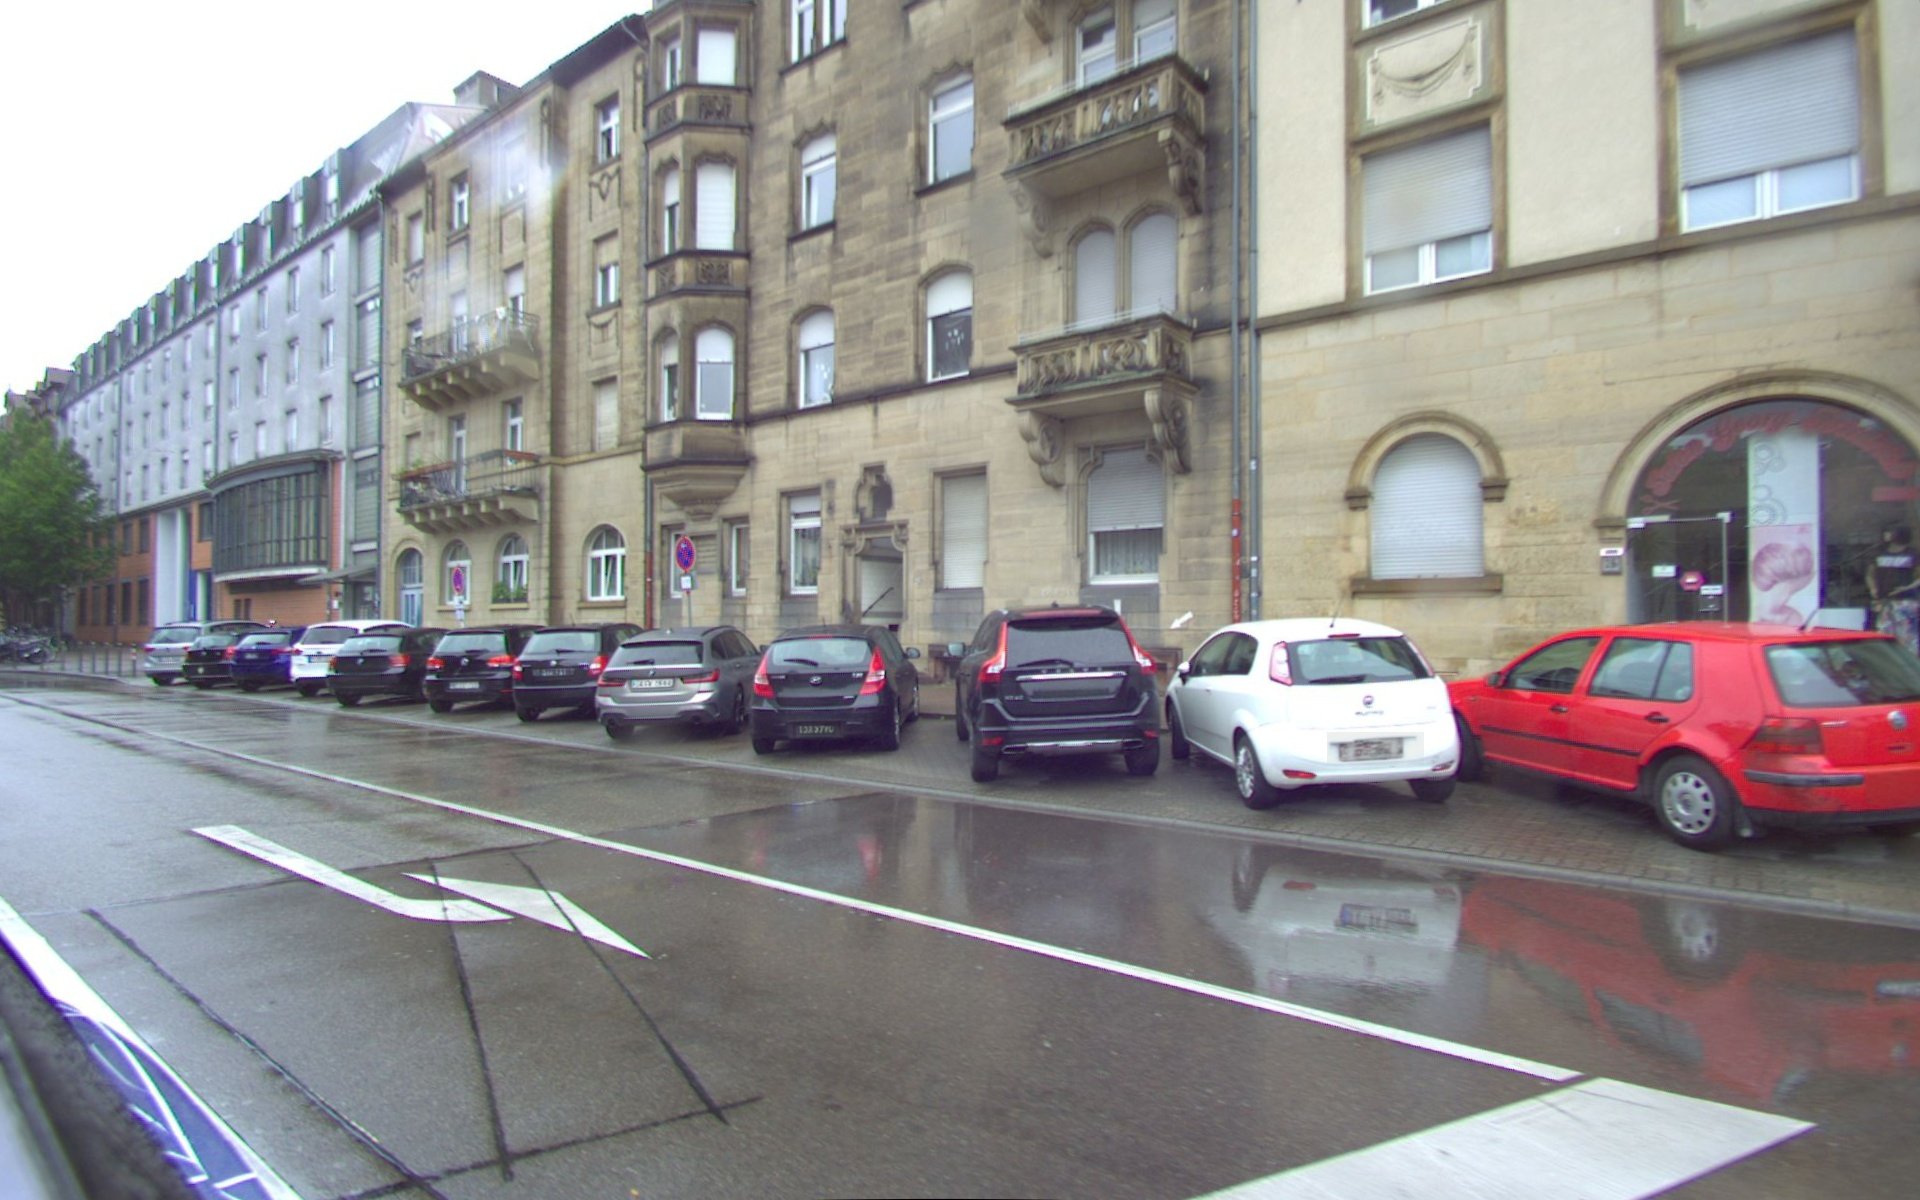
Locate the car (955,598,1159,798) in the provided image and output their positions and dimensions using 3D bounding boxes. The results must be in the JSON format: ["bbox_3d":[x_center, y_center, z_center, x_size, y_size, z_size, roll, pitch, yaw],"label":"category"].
[{"bbox_3d":[0.832,0.867,10.871,1.739,1.705,4.085,-1,0,0],"label":"car"}]

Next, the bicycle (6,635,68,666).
[{"bbox_3d":[-35.460,1.926,38.910,0.544,1.081,1.668,-1,0,36],"label":"bicycle"}]

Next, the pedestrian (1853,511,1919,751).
[{"bbox_3d":[9.730,0.314,10.226,0.834,2.358,0.766,1,-2,-28],"label":"pedestrian"}]

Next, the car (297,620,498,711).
[{"bbox_3d":[-11.095,1.231,20.280,1.756,1.556,3.722,-1,0,4],"label":"car"}]

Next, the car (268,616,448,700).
[{"bbox_3d":[-13.339,1.222,22.690,1.754,1.639,3.726,-1,0,1],"label":"car"}]

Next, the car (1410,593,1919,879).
[{"bbox_3d":[5.420,0.745,7.732,1.775,1.519,4.006,-2,1,-7],"label":"car"}]

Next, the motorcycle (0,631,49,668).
[{"bbox_3d":[-34.682,1.805,36.816,0.758,1.320,2.227,-1,-1,39],"label":"motorcycle"}]

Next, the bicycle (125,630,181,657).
[{"bbox_3d":[-38.121,2.046,47.849,1.873,1.234,0.939,2,-3,-25],"label":"bicycle"}]

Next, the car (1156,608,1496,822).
[{"bbox_3d":[3.096,0.875,9.505,1.680,1.545,3.994,-1,-1,0],"label":"car"}]

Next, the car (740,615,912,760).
[{"bbox_3d":[-1.562,0.993,12.825,1.678,1.537,3.310,-1,0,1],"label":"car"}]

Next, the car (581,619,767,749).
[{"bbox_3d":[-3.932,1.087,14.449,1.677,1.556,3.429,-1,0,0],"label":"car"}]

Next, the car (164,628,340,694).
[{"bbox_3d":[-17.853,1.500,25.752,1.696,1.539,3.722,0,-2,4],"label":"car"}]

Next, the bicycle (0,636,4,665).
[{"bbox_3d":[-36.613,1.930,37.484,0.544,1.081,1.668,-1,0,36],"label":"bicycle"}]

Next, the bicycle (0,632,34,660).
[{"bbox_3d":[-36.624,1.752,38.695,0.544,1.081,1.668,-1,-3,36],"label":"bicycle"}]

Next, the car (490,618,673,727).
[{"bbox_3d":[-6.179,1.126,16.917,1.607,1.556,3.440,-1,0,3],"label":"car"}]

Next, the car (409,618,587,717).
[{"bbox_3d":[-8.378,1.161,18.713,1.605,1.556,3.759,-1,0,-1],"label":"car"}]

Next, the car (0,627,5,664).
[{"bbox_3d":[-46.289,2.049,45.992,1.991,1.728,3.764,-1,-3,29],"label":"car"}]

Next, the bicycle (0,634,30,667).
[{"bbox_3d":[-35.622,1.873,37.188,0.772,1.181,2.025,-1,0,36],"label":"bicycle"}]

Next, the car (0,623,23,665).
[{"bbox_3d":[-42.729,1.855,42.905,1.980,1.828,3.983,0,-2,13],"label":"car"}]

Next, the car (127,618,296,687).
[{"bbox_3d":[-20.282,1.409,27.649,1.790,1.743,3.924,1,-2,-2],"label":"car"}]

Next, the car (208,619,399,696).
[{"bbox_3d":[-15.623,1.302,24.333,1.880,1.539,3.718,0,1,8],"label":"car"}]
